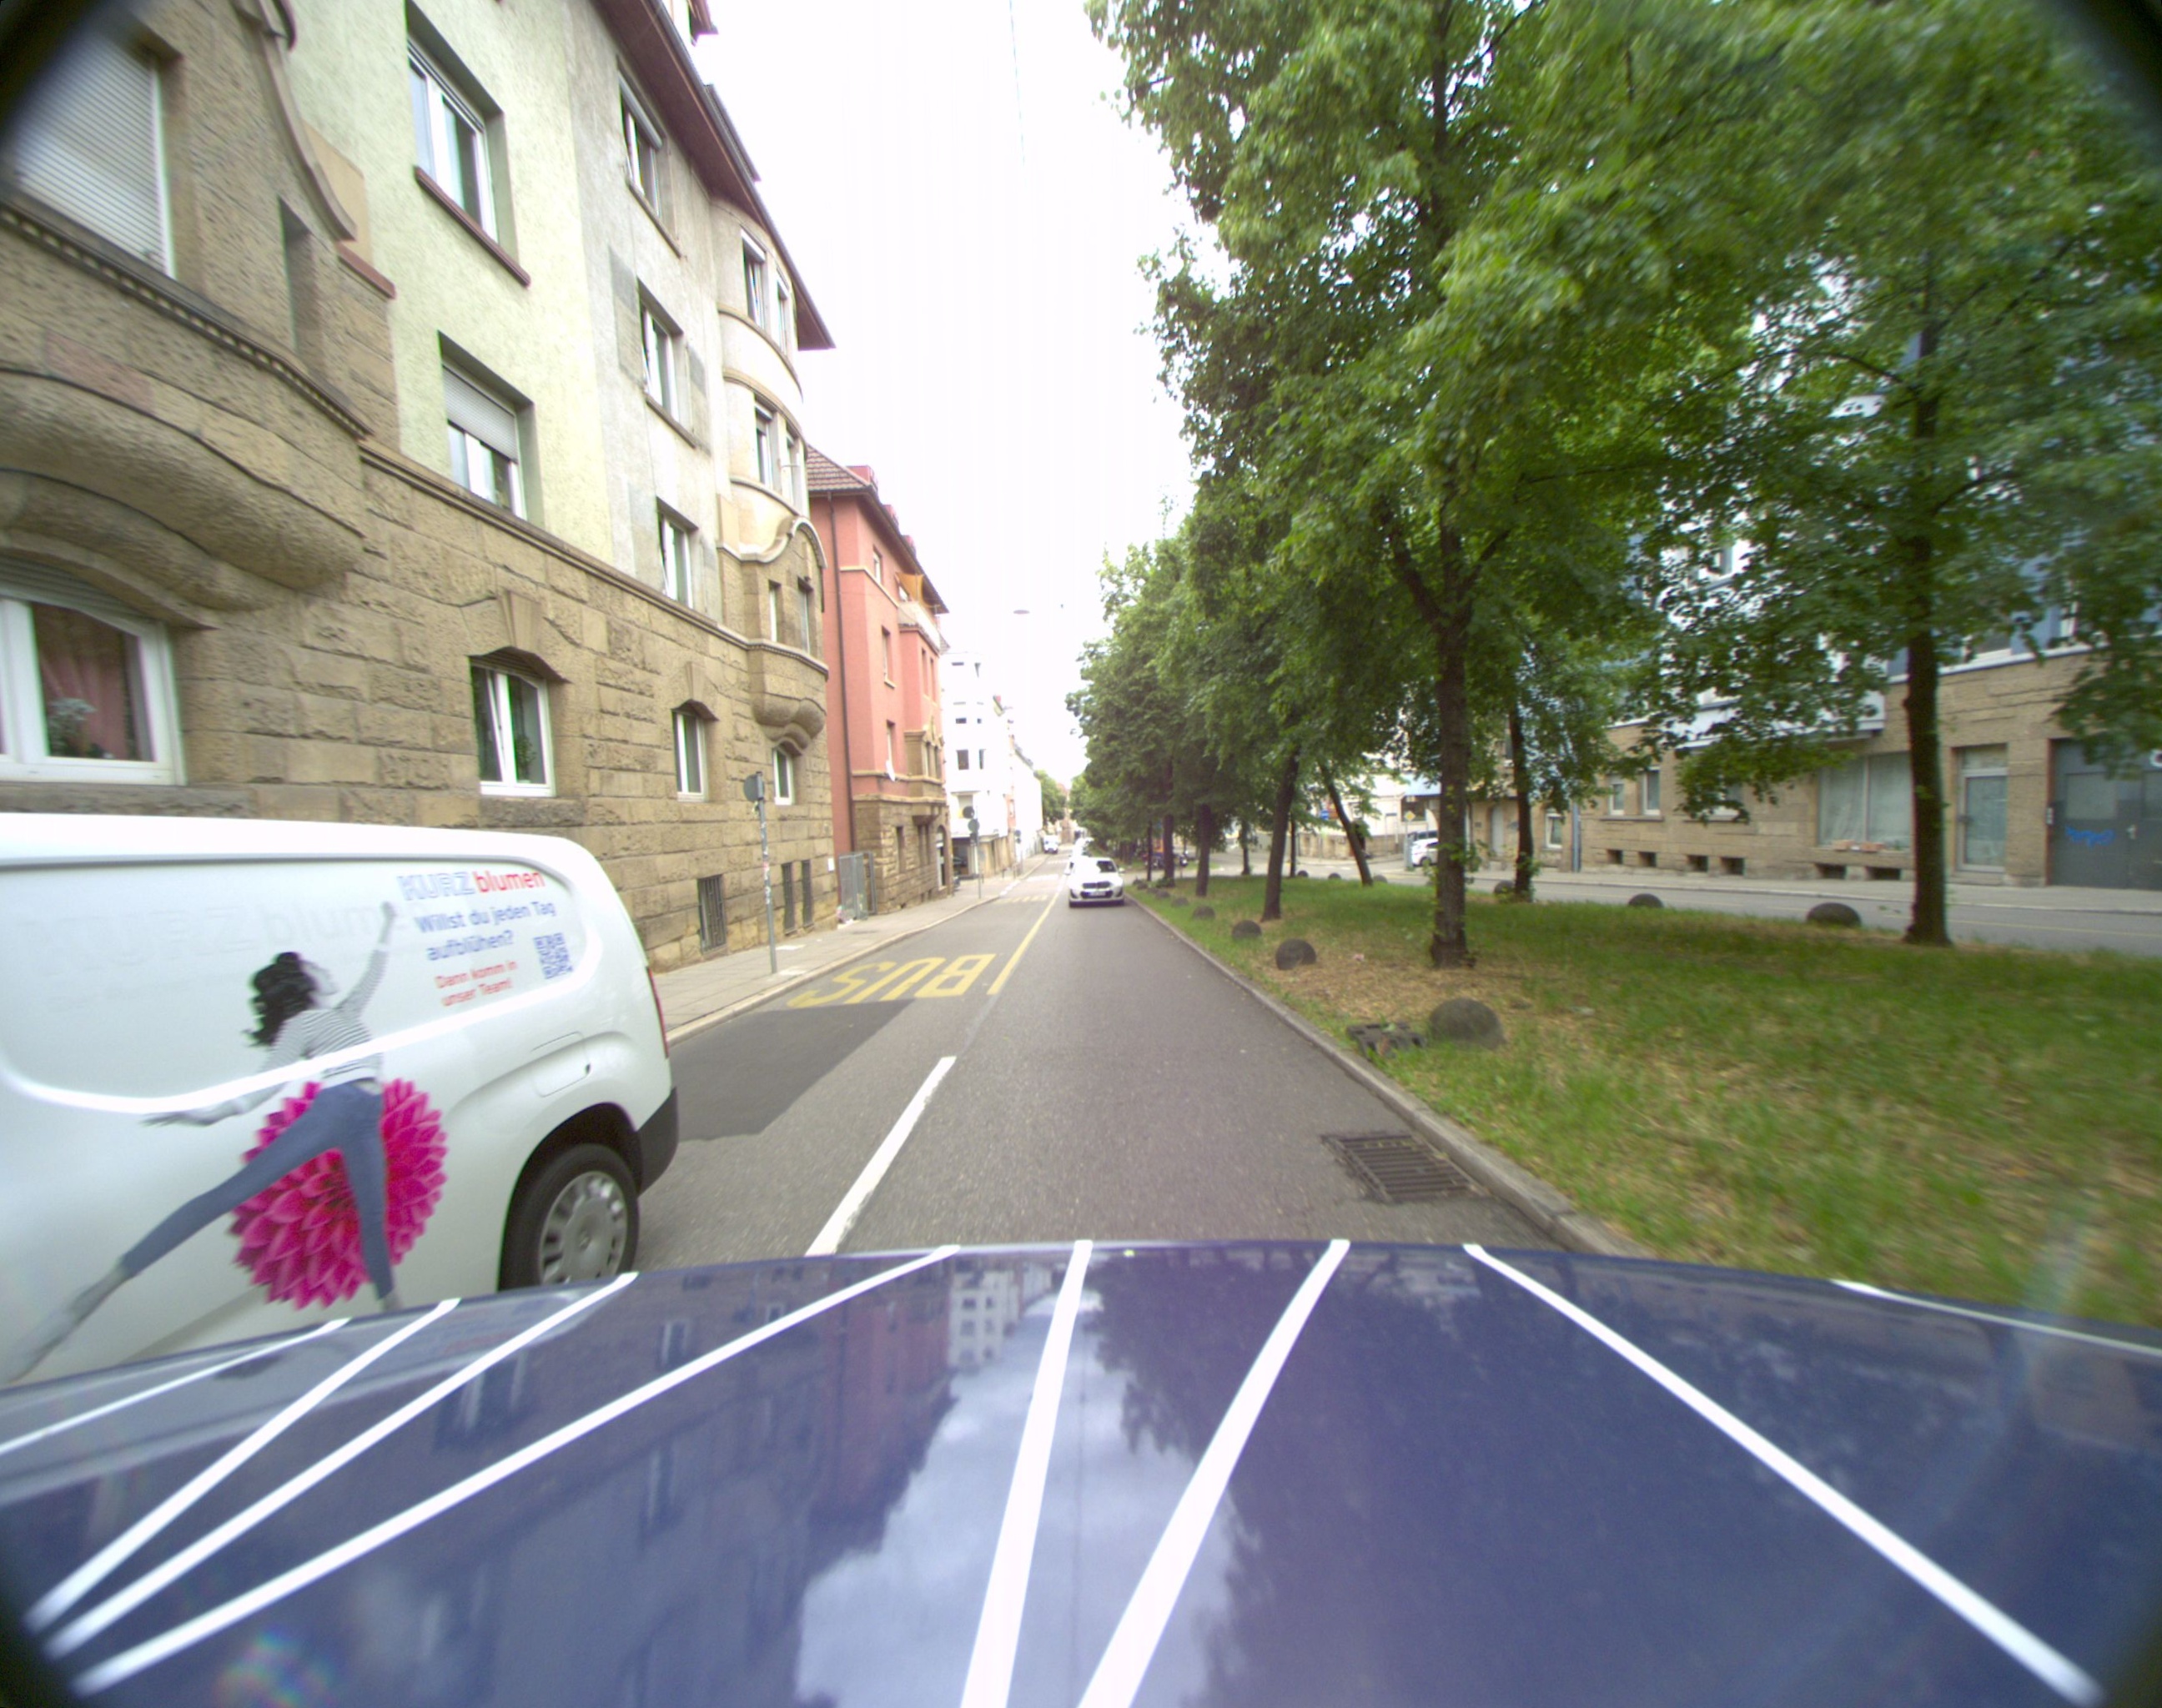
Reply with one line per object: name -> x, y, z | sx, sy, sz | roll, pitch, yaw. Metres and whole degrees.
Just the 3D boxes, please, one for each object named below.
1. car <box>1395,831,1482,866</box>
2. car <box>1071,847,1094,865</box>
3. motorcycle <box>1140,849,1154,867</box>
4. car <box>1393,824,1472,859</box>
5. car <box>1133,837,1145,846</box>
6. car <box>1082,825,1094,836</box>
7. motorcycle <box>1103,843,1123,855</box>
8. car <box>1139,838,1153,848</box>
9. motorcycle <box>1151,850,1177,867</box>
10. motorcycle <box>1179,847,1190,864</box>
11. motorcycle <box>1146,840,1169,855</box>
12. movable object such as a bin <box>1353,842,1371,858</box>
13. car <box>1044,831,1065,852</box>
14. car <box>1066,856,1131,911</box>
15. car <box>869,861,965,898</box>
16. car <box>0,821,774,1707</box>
car -> 20.585, -0.334, 43.830 | 4.008, 1.462, 1.870 | -7, 4, -2
car -> 0.093, 0.147, 66.329 | 1.854, 1.361, 4.279 | -4, 2, -2
motorcycle -> 4.761, 0.267, 54.525 | 0.888, 1.090, 2.481 | -3, 4, 7
car -> 22.420, -0.809, 48.568 | 4.007, 1.690, 1.871 | -7, 2, 1
car -> 10.780, -2.311, 142.371 | 1.818, 1.554, 4.253 | -3, 1, 0
car -> 1.965, -6.816, 221.839 | 3.026, 3.045, 7.165 | -2, 3, -1
motorcycle -> 3.313, -0.551, 78.708 | 2.041, 1.126, 0.453 | -3, 4, 0
car -> 10.921, -1.817, 127.373 | 1.818, 1.554, 4.415 | -3, 1, 0
motorcycle -> 5.746, 0.309, 52.889 | 1.735, 1.090, 0.550 | -3, 4, 4
motorcycle -> 7.443, 0.129, 54.642 | 0.750, 1.068, 1.851 | -3, 4, 7
motorcycle -> 8.243, -0.732, 81.978 | 2.424, 1.475, 0.963 | -1, 4, 0
movable object such as a bin -> 18.897, -0.301, 51.033 | 0.888, 0.988, 0.668 | -5, 2, -1
car -> -4.088, -2.009, 118.487 | 3.026, 3.045, 7.165 | -2, 3, -1
car -> 0.505, 0.931, 25.845 | 1.854, 1.595, 4.562 | -4, 0, -2
car -> -9.573, 1.472, 44.635 | 5.141, 1.541, 2.237 | -5, 2, -5
car -> -2.657, 0.913, 1.237 | 1.853, 1.815, 5.020 | -4, 2, 4
